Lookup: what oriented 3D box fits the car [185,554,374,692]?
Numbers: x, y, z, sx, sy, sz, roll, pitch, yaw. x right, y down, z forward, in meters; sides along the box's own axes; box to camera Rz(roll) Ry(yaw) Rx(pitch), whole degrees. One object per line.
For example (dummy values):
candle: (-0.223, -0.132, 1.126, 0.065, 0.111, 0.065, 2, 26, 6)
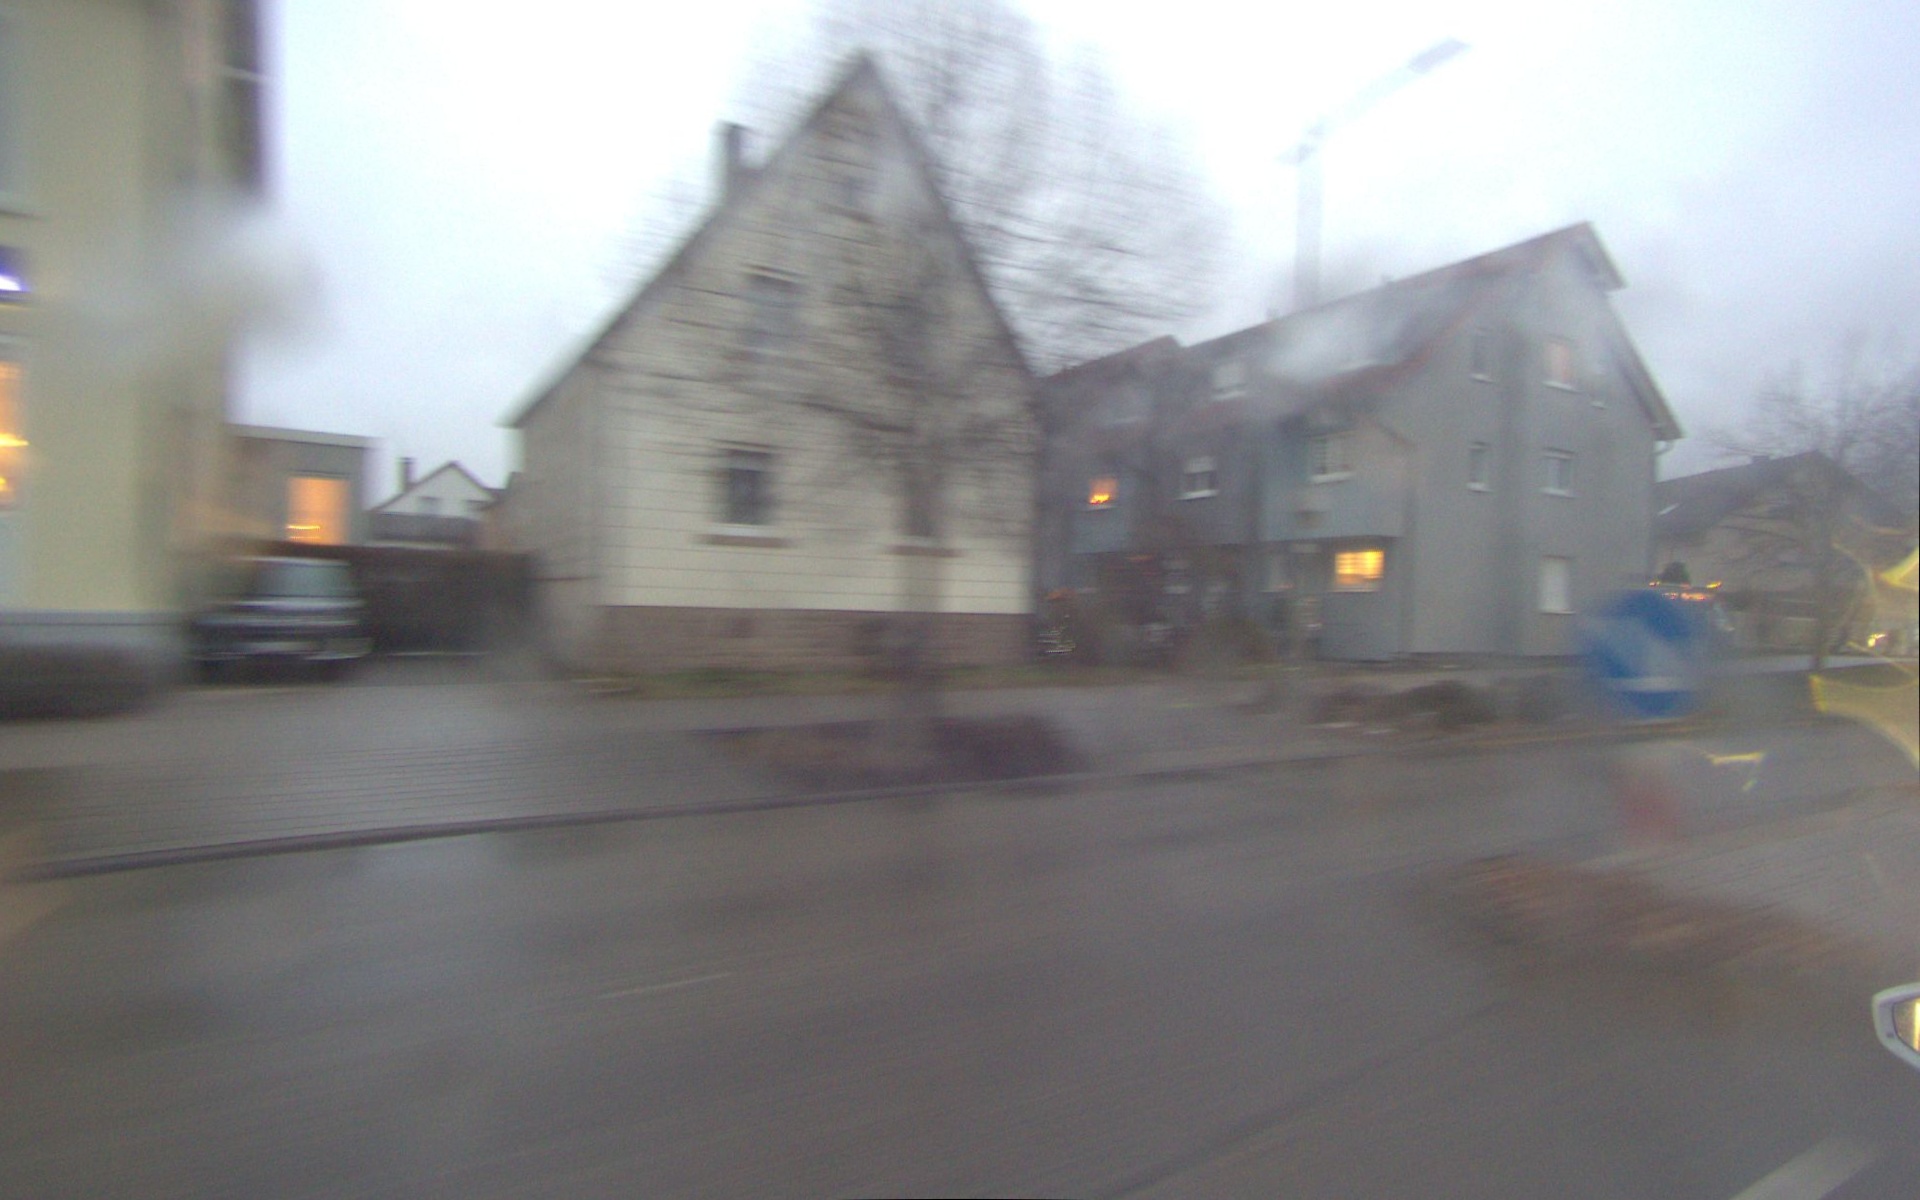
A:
car: (-9.335, 0.284, 13.958, 1.901, 1.621, 3.964, 1, 0, -33)
